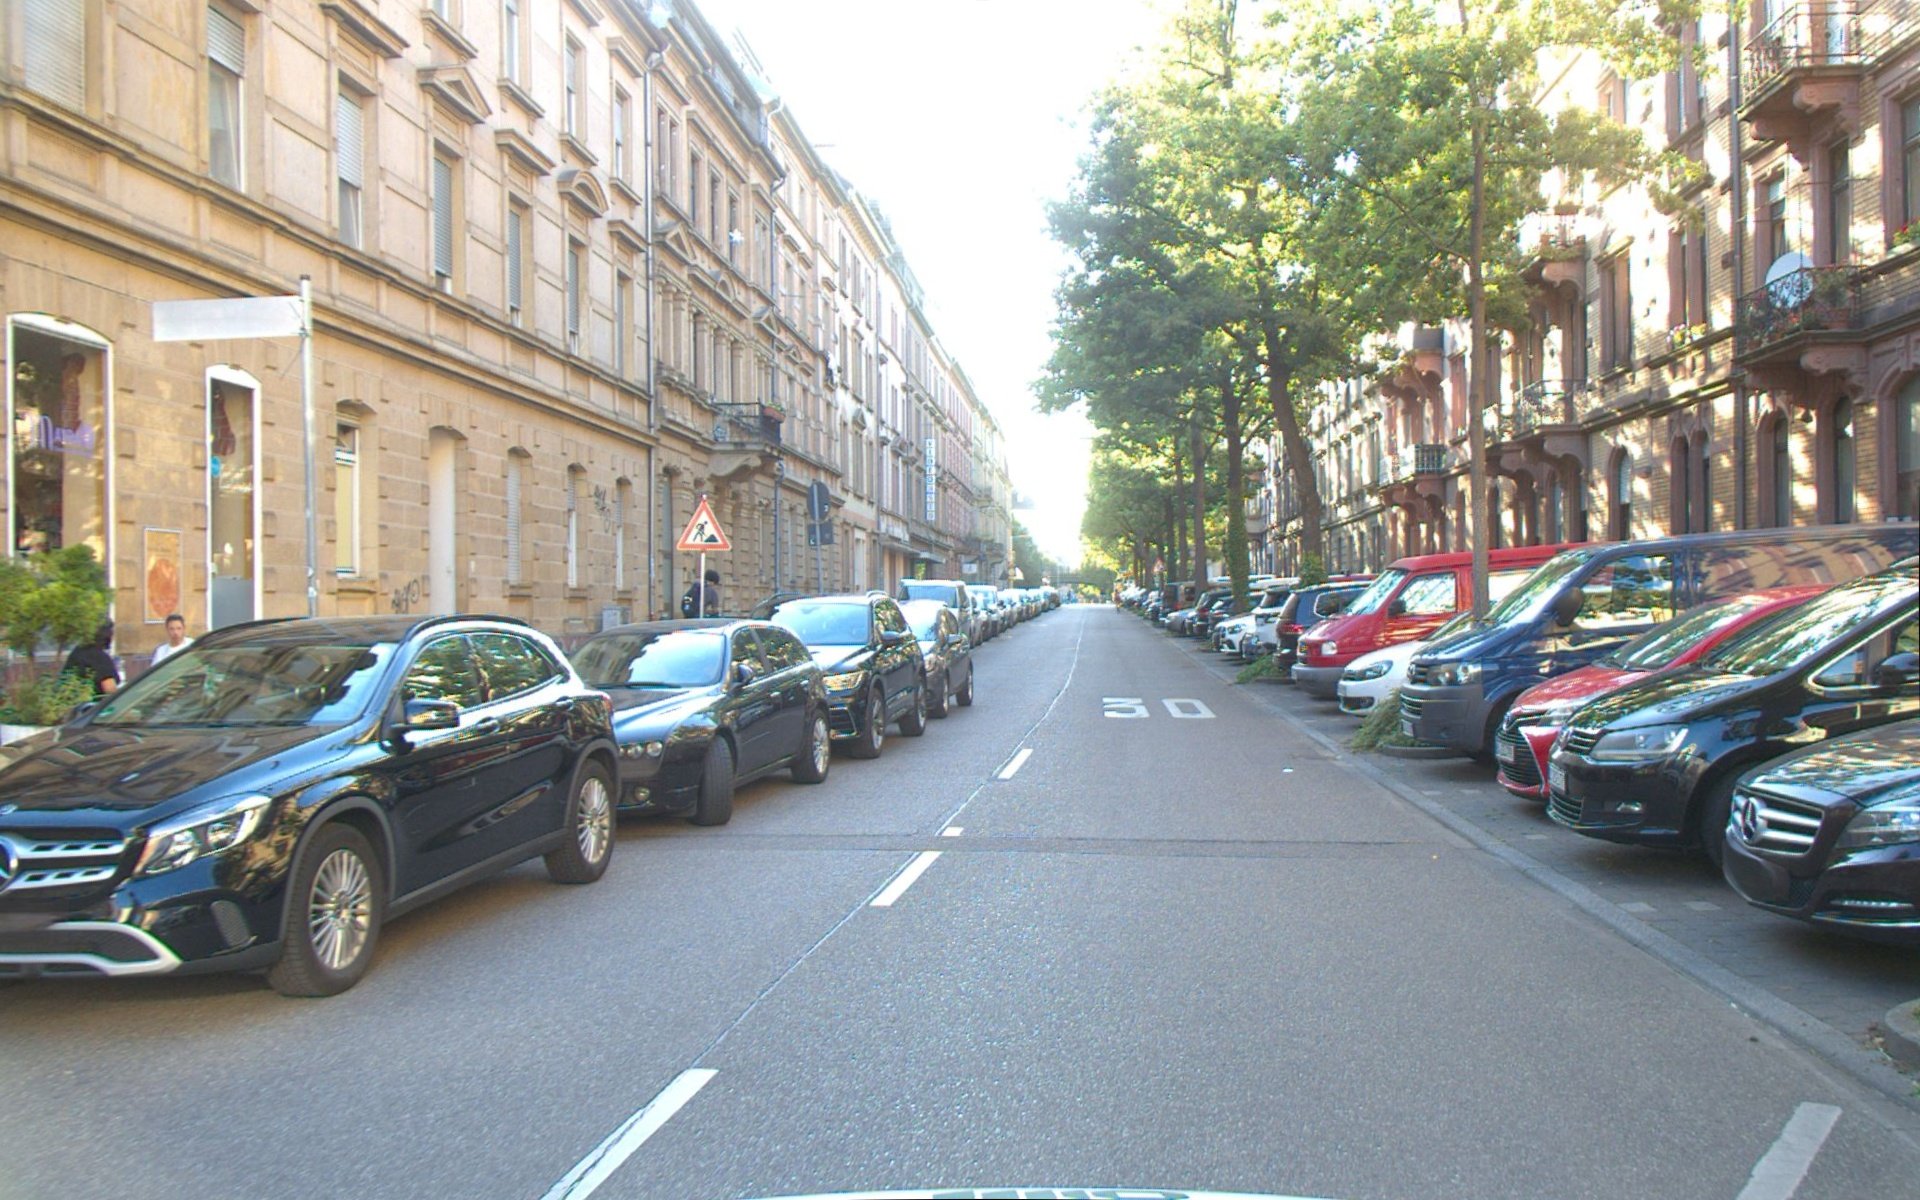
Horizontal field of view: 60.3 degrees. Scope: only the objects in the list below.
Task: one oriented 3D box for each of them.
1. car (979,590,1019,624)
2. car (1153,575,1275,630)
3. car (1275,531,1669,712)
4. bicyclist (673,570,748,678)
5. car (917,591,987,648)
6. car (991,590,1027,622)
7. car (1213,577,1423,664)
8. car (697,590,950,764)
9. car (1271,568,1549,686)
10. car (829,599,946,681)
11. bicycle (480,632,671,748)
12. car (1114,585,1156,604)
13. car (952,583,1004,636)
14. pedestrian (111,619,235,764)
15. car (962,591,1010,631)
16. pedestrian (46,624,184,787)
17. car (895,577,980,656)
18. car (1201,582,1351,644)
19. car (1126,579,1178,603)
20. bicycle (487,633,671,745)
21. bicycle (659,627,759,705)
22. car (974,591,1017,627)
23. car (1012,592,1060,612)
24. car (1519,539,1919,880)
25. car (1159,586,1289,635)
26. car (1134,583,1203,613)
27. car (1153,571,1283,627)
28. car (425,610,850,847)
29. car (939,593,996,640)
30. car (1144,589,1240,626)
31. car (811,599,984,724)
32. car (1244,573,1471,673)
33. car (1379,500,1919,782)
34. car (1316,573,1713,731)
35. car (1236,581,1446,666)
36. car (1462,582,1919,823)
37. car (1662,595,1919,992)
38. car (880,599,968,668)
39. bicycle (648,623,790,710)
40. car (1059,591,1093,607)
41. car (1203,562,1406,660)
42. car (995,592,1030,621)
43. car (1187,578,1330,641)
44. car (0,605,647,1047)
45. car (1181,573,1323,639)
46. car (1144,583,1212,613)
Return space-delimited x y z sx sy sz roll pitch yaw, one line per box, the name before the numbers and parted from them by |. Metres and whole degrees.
car | 1.870 0.305 77.644 1.722 1.498 4.061 -1 0 3
car | 9.617 0.097 62.695 4.152 1.826 1.828 -3 0 -15
car | 6.687 0.281 21.981 4.578 2.069 1.879 -3 -1 1
bicyclist | -4.357 0.399 28.963 0.975 1.821 1.208 -2 1 6
car | -0.201 0.564 50.288 1.716 1.636 4.386 1 0 5
car | 2.506 0.287 83.870 1.722 1.498 4.061 -1 0 3
car | 7.861 0.436 36.650 4.253 1.583 1.851 -4 1 4
car | -1.341 0.734 18.248 1.721 1.628 4.554 -2 0 9
car | 7.239 0.430 26.986 4.097 1.656 1.839 -3 -1 8
car | -1.435 0.776 34.258 1.721 1.527 4.063 -2 0 7
bicycle | -3.940 0.911 16.976 1.827 1.148 0.529 0 -1 7
car | 16.280 -0.534 153.831 3.770 1.601 1.719 -3 0 4
car | 0.713 0.314 61.920 1.722 1.874 4.532 -1 0 3
pedestrian | -7.005 0.799 14.744 0.710 1.235 0.757 -1 0 2
car | 1.082 0.428 66.695 1.722 1.498 4.061 -1 0 3
pedestrian | -6.910 0.848 13.554 0.710 1.281 0.757 -1 0 2
car | -0.544 0.389 44.473 1.793 1.977 5.263 1 0 4
car | 8.863 0.360 46.643 3.926 1.493 1.735 -3 -1 4
car | 14.325 -0.661 123.564 3.770 1.601 1.719 -3 0 4
bicycle | -4.054 0.933 17.617 1.827 1.148 0.529 0 -1 7
bicycle | -4.357 1.125 28.958 0.974 1.178 2.925 -2 1 6
car | 1.585 0.378 72.780 1.722 1.498 4.061 -1 0 3
car | 6.039 0.185 131.279 1.960 1.512 3.984 -2 -2 36
car | 5.694 0.514 9.219 4.587 1.708 1.853 -3 -1 10
car | 9.064 0.345 57.079 4.135 1.428 1.835 -3 0 0
car | 12.468 -0.114 98.826 3.774 1.601 1.717 -3 0 -4
car | 10.312 -0.041 66.390 4.951 1.959 1.836 -3 0 4
car | -2.268 0.858 12.995 1.721 1.477 4.554 -2 0 10
car | 0.286 0.537 56.930 1.722 1.493 4.002 1 1 3
car | 9.696 0.295 69.309 3.771 1.316 1.718 -3 0 1
car | -0.780 0.793 23.342 1.721 1.527 4.063 -2 0 8
car | 7.579 0.433 31.830 3.927 1.656 1.806 -3 -1 3
car | 6.375 0.339 14.523 4.916 2.253 1.993 -1 0 4
car | 6.302 0.582 19.184 3.969 1.536 1.880 -3 -1 4
car | 7.830 0.489 34.272 3.926 1.459 1.795 -4 -1 4
car | 5.802 0.673 11.708 4.019 1.561 1.726 -1 0 5
car | 5.634 0.636 6.799 4.684 1.437 1.852 -3 -1 7
car | -0.805 0.736 38.793 1.559 1.501 3.702 1 0 6
bicycle | -3.268 0.897 22.461 1.828 1.148 0.529 0 -1 5
car | 14.039 -0.144 199.994 3.902 1.891 1.753 0 0 13
car | 8.111 0.237 39.203 4.352 1.957 1.851 -4 1 2
car | 2.845 0.326 88.626 1.722 1.498 4.061 -1 0 3
car | 8.823 0.290 49.120 3.926 1.635 1.735 -3 -1 4
car | -3.075 0.814 7.898 1.721 1.514 4.142 -2 0 10
car | 9.130 0.185 51.975 4.133 1.807 1.836 -3 0 3
car | 13.323 -0.109 101.173 3.774 1.601 1.717 -3 0 -4
